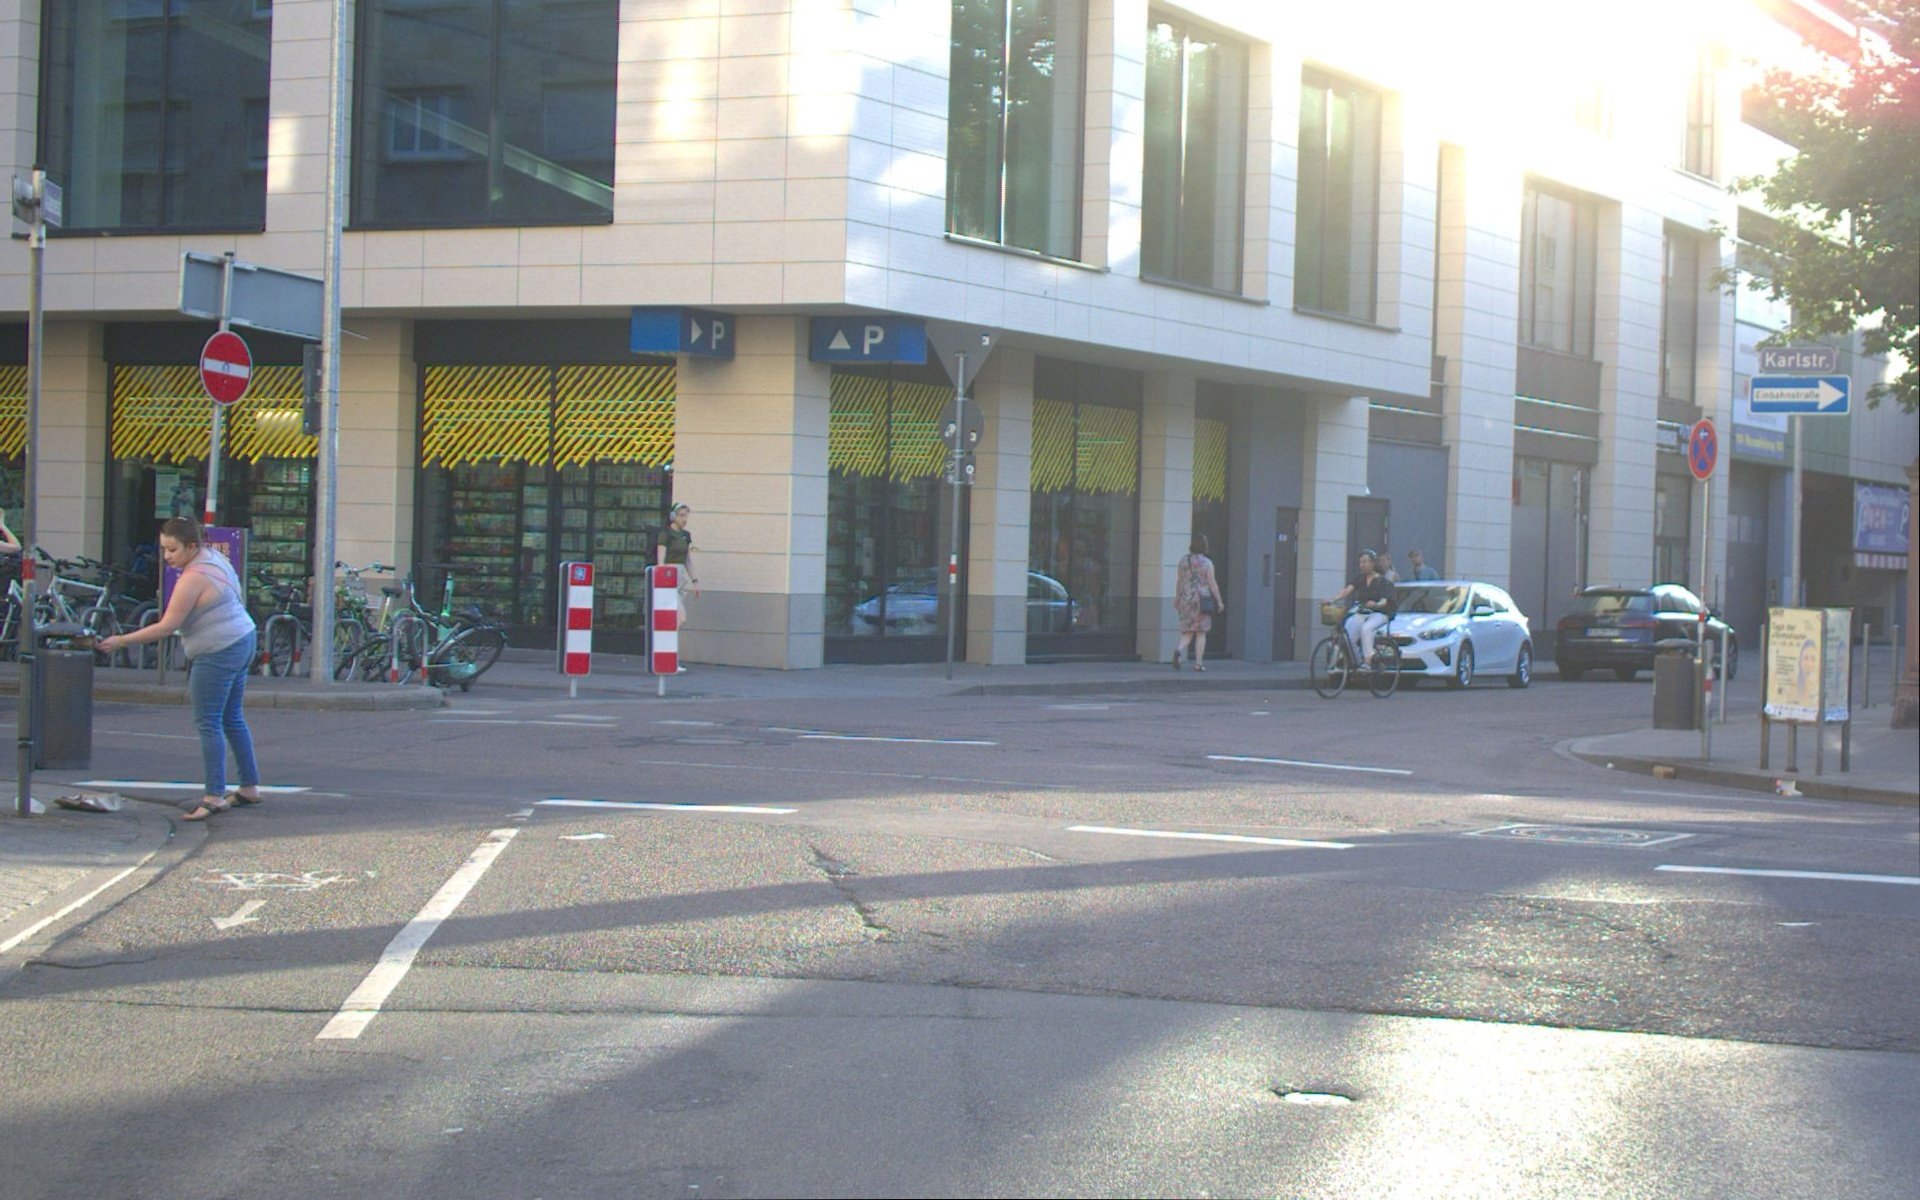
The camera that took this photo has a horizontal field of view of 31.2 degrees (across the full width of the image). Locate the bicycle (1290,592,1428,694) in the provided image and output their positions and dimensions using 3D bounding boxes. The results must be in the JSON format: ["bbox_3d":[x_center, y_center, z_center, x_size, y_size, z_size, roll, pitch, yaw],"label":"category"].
[{"bbox_3d":[4.635,0.503,39.839,0.665,1.134,1.817,3,0,40],"label":"bicycle"}]

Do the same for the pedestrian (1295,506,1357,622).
[{"bbox_3d":[5.388,-0.524,50.557,0.673,1.669,0.646,3,1,25],"label":"pedestrian"}]

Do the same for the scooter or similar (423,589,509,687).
[{"bbox_3d":[-4.572,0.350,31.814,0.387,0.881,0.769,3,0,26],"label":"scooter or similar"}]

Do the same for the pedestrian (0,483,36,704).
[{"bbox_3d":[-7.486,-0.066,26.059,0.869,1.652,0.619,2,1,-16],"label":"pedestrian"}]

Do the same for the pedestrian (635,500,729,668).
[{"bbox_3d":[-2.898,-0.171,35.831,0.635,1.717,0.845,2,1,-28],"label":"pedestrian"}]

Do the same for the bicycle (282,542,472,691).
[{"bbox_3d":[-5.149,0.149,30.495,0.581,1.250,2.041,3,0,24],"label":"bicycle"}]

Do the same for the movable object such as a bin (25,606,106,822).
[{"bbox_3d":[-4.502,0.571,17.316,0.359,1.060,0.356,2,1,-14],"label":"movable object such as a bin"}]

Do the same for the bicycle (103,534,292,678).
[{"bbox_3d":[-6.944,0.062,31.410,0.512,1.250,1.976,3,0,26],"label":"bicycle"}]

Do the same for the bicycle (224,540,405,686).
[{"bbox_3d":[-5.746,0.121,30.726,0.512,1.250,1.976,3,0,24],"label":"bicycle"}]

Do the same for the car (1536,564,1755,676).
[{"bbox_3d":[10.654,0.301,53.199,1.887,1.592,4.681,2,1,30],"label":"car"}]

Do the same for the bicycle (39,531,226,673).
[{"bbox_3d":[-7.631,0.029,31.793,0.512,1.250,1.976,3,0,25],"label":"bicycle"}]

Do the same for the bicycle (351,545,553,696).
[{"bbox_3d":[-4.436,0.182,30.209,0.665,1.250,2.138,3,0,24],"label":"bicycle"}]

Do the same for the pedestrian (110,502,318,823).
[{"bbox_3d":[-3.857,0.312,17.764,0.802,1.607,0.735,2,1,-32],"label":"pedestrian"}]

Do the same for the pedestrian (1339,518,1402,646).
[{"bbox_3d":[6.001,-0.266,50.278,0.673,1.830,0.646,3,1,25],"label":"pedestrian"}]

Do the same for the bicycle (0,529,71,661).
[{"bbox_3d":[-9.345,-0.054,32.686,0.512,1.250,1.976,3,0,26],"label":"bicycle"}]

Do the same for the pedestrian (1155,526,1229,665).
[{"bbox_3d":[2.958,-0.058,43.823,0.673,1.738,0.646,2,1,28],"label":"pedestrian"}]

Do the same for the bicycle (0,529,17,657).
[{"bbox_3d":[-9.988,-0.086,33.105,0.512,1.250,1.976,3,0,26],"label":"bicycle"}]

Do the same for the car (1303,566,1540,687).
[{"bbox_3d":[6.126,0.326,45.271,1.780,1.448,4.224,2,1,26],"label":"car"}]

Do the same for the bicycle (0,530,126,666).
[{"bbox_3d":[-8.720,-0.024,32.336,0.512,1.250,1.976,3,0,26],"label":"bicycle"}]

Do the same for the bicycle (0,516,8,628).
[{"bbox_3d":[-11.668,-0.355,38.557,1.975,1.250,0.611,3,0,27],"label":"bicycle"}]

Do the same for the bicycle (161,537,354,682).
[{"bbox_3d":[-6.311,0.094,30.988,0.512,1.250,1.976,3,0,28],"label":"bicycle"}]

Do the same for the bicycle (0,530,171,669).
[{"bbox_3d":[-8.226,0.000,32.049,0.512,1.250,1.976,3,0,26],"label":"bicycle"}]

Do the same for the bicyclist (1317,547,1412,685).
[{"bbox_3d":[4.696,0.189,39.901,0.660,1.565,0.861,3,0,40],"label":"bicyclist"}]
